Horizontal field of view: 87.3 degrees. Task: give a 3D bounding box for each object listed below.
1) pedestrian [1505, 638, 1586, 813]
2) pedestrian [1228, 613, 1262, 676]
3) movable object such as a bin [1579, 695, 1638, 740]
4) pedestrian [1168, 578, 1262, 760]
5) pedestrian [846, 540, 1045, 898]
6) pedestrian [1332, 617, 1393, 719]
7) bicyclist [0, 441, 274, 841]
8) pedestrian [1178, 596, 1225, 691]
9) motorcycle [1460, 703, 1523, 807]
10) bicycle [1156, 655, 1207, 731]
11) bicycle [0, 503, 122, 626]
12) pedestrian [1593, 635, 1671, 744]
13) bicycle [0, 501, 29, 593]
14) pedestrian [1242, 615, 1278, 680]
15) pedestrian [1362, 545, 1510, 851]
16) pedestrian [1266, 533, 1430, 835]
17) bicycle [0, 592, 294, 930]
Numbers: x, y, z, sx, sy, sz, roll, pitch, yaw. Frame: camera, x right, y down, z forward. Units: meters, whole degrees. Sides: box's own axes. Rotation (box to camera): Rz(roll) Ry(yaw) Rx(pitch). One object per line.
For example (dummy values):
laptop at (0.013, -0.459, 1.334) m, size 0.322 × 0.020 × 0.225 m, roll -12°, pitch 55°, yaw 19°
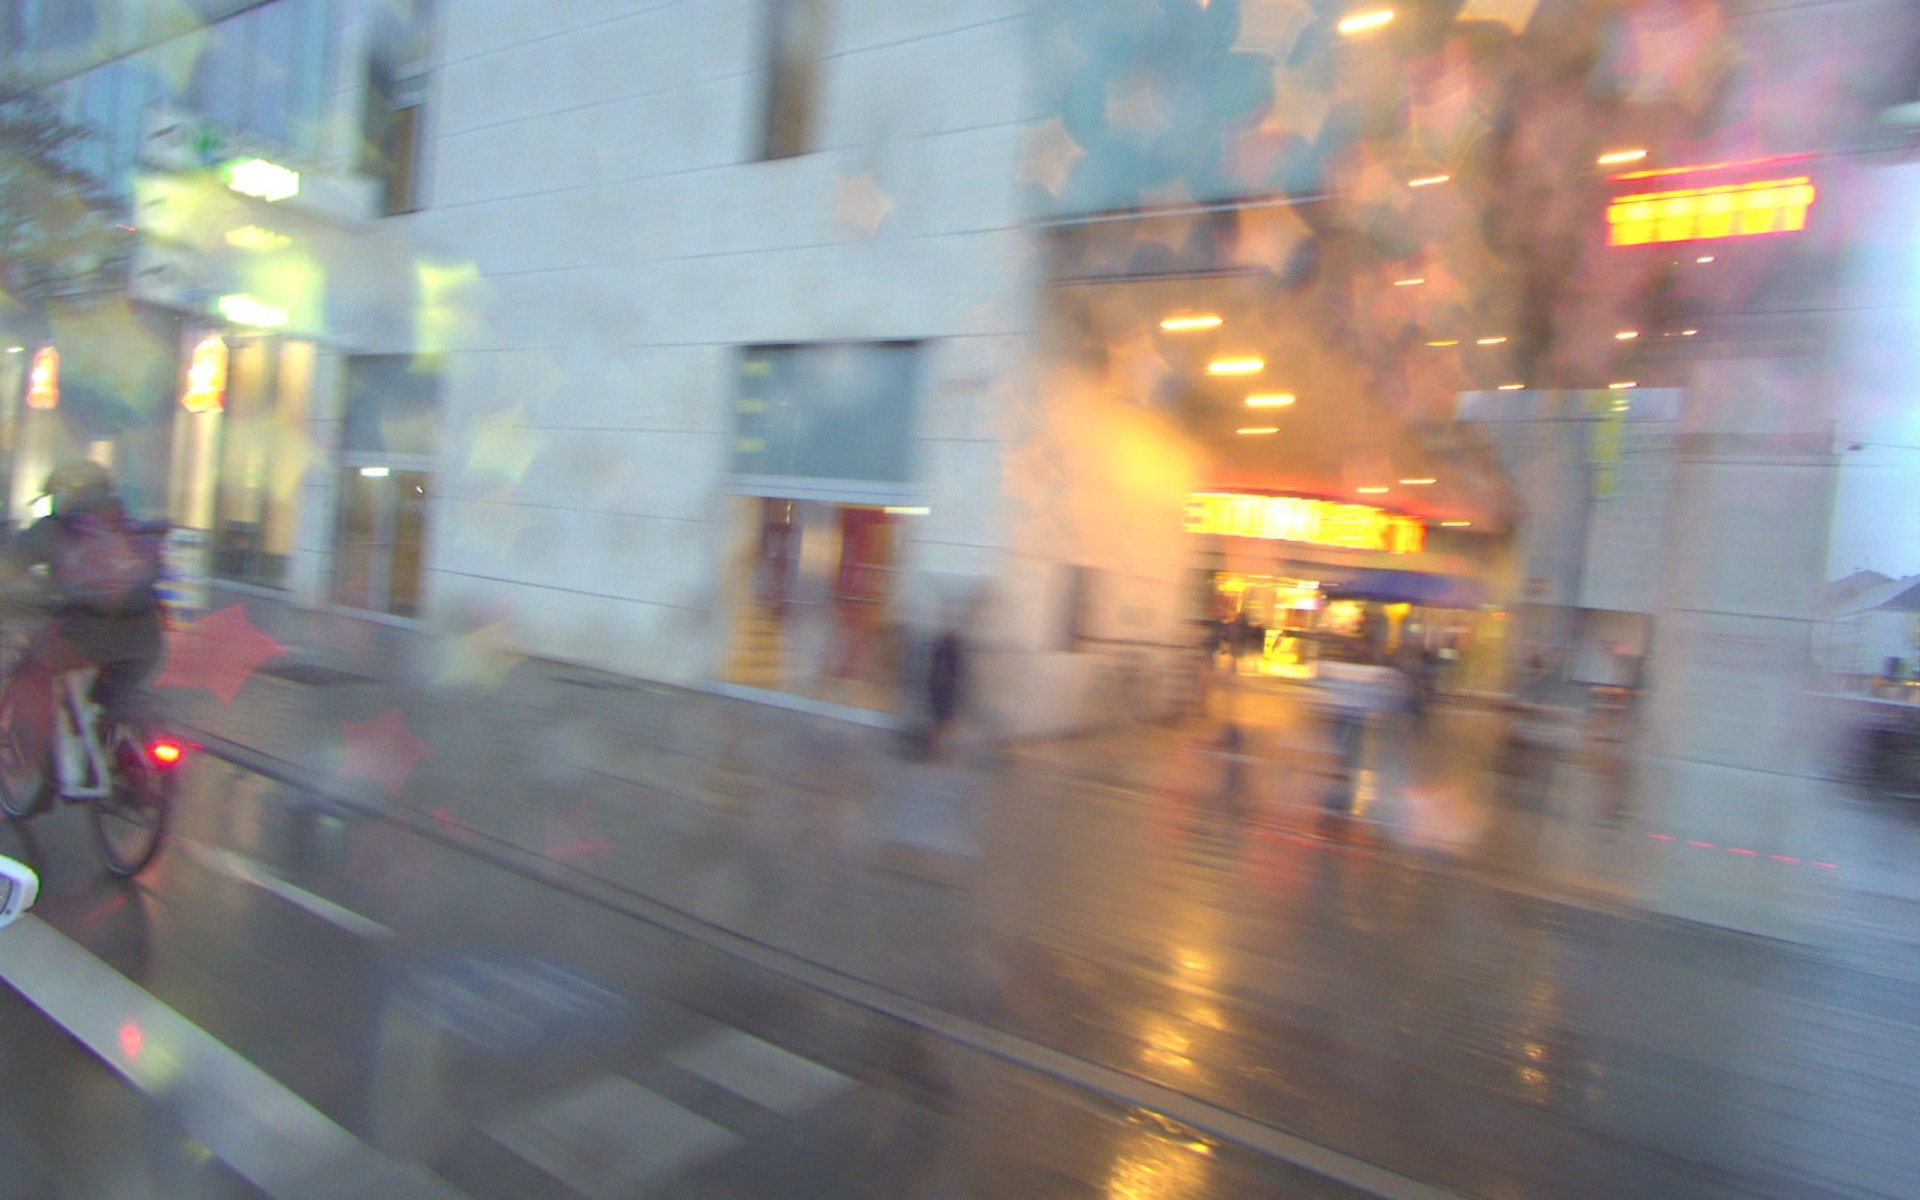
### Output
pedestrian at (5.881, 1.236, 10.120) m, size 0.492 × 1.628 × 0.778 m, roll 8°, pitch 1°, yaw 30°
pedestrian at (7.592, 1.176, 26.849) m, size 0.612 × 1.589 × 0.616 m, roll 7°, pitch 1°, yaw 9°
movable object such as a bin at (12.205, 2.209, 18.936) m, size 0.590 × 0.715 × 0.653 m, roll 7°, pitch 1°, yaw -26°
pedestrian at (2.735, 0.726, 10.770) m, size 0.613 × 1.828 × 0.615 m, roll 8°, pitch 1°, yaw 30°
pedestrian at (-0.062, 0.591, 5.404) m, size 0.710 × 1.717 × 0.706 m, roll 7°, pitch 3°, yaw 18°
pedestrian at (7.179, 1.219, 17.944) m, size 0.612 × 1.724 × 0.616 m, roll 6°, pitch 2°, yaw -42°
bicyclist at (-3.758, 0.139, 4.306) m, size 1.049 × 1.481 × 0.943 m, roll 7°, pitch 1°, yaw 35°
pedestrian at (4.556, 0.813, 18.985) m, size 0.612 × 1.694 × 0.616 m, roll 7°, pitch 1°, yaw 9°
motorcycle at (5.452, 1.544, 10.284) m, size 0.388 × 0.900 × 1.634 m, roll 8°, pitch 0°, yaw 31°
bicycle at (2.861, 1.175, 12.935) m, size 0.338 × 0.873 × 1.067 m, roll 7°, pitch 2°, yaw 24°
bicycle at (-10.817, -0.435, 11.613) m, size 1.534 × 1.277 × 0.665 m, roll 7°, pitch 1°, yaw -13°
pedestrian at (12.828, 1.697, 19.212) m, size 0.620 × 1.932 × 0.836 m, roll 7°, pitch 1°, yaw -27°
bicycle at (-13.231, -0.745, 12.793) m, size 0.655 × 1.191 × 1.904 m, roll 7°, pitch 2°, yaw 29°
pedestrian at (7.738, 1.207, 25.971) m, size 0.612 × 1.591 × 0.616 m, roll 7°, pitch 1°, yaw 9°
pedestrian at (3.703, 0.738, 7.800) m, size 0.573 × 2.189 × 0.962 m, roll 8°, pitch 2°, yaw 41°
pedestrian at (3.106, 0.648, 8.028) m, size 0.701 × 2.220 × 0.957 m, roll 8°, pitch 2°, yaw 41°
bicycle at (-3.987, 0.572, 4.445) m, size 2.205 × 1.012 × 0.943 m, roll 7°, pitch 0°, yaw 35°
